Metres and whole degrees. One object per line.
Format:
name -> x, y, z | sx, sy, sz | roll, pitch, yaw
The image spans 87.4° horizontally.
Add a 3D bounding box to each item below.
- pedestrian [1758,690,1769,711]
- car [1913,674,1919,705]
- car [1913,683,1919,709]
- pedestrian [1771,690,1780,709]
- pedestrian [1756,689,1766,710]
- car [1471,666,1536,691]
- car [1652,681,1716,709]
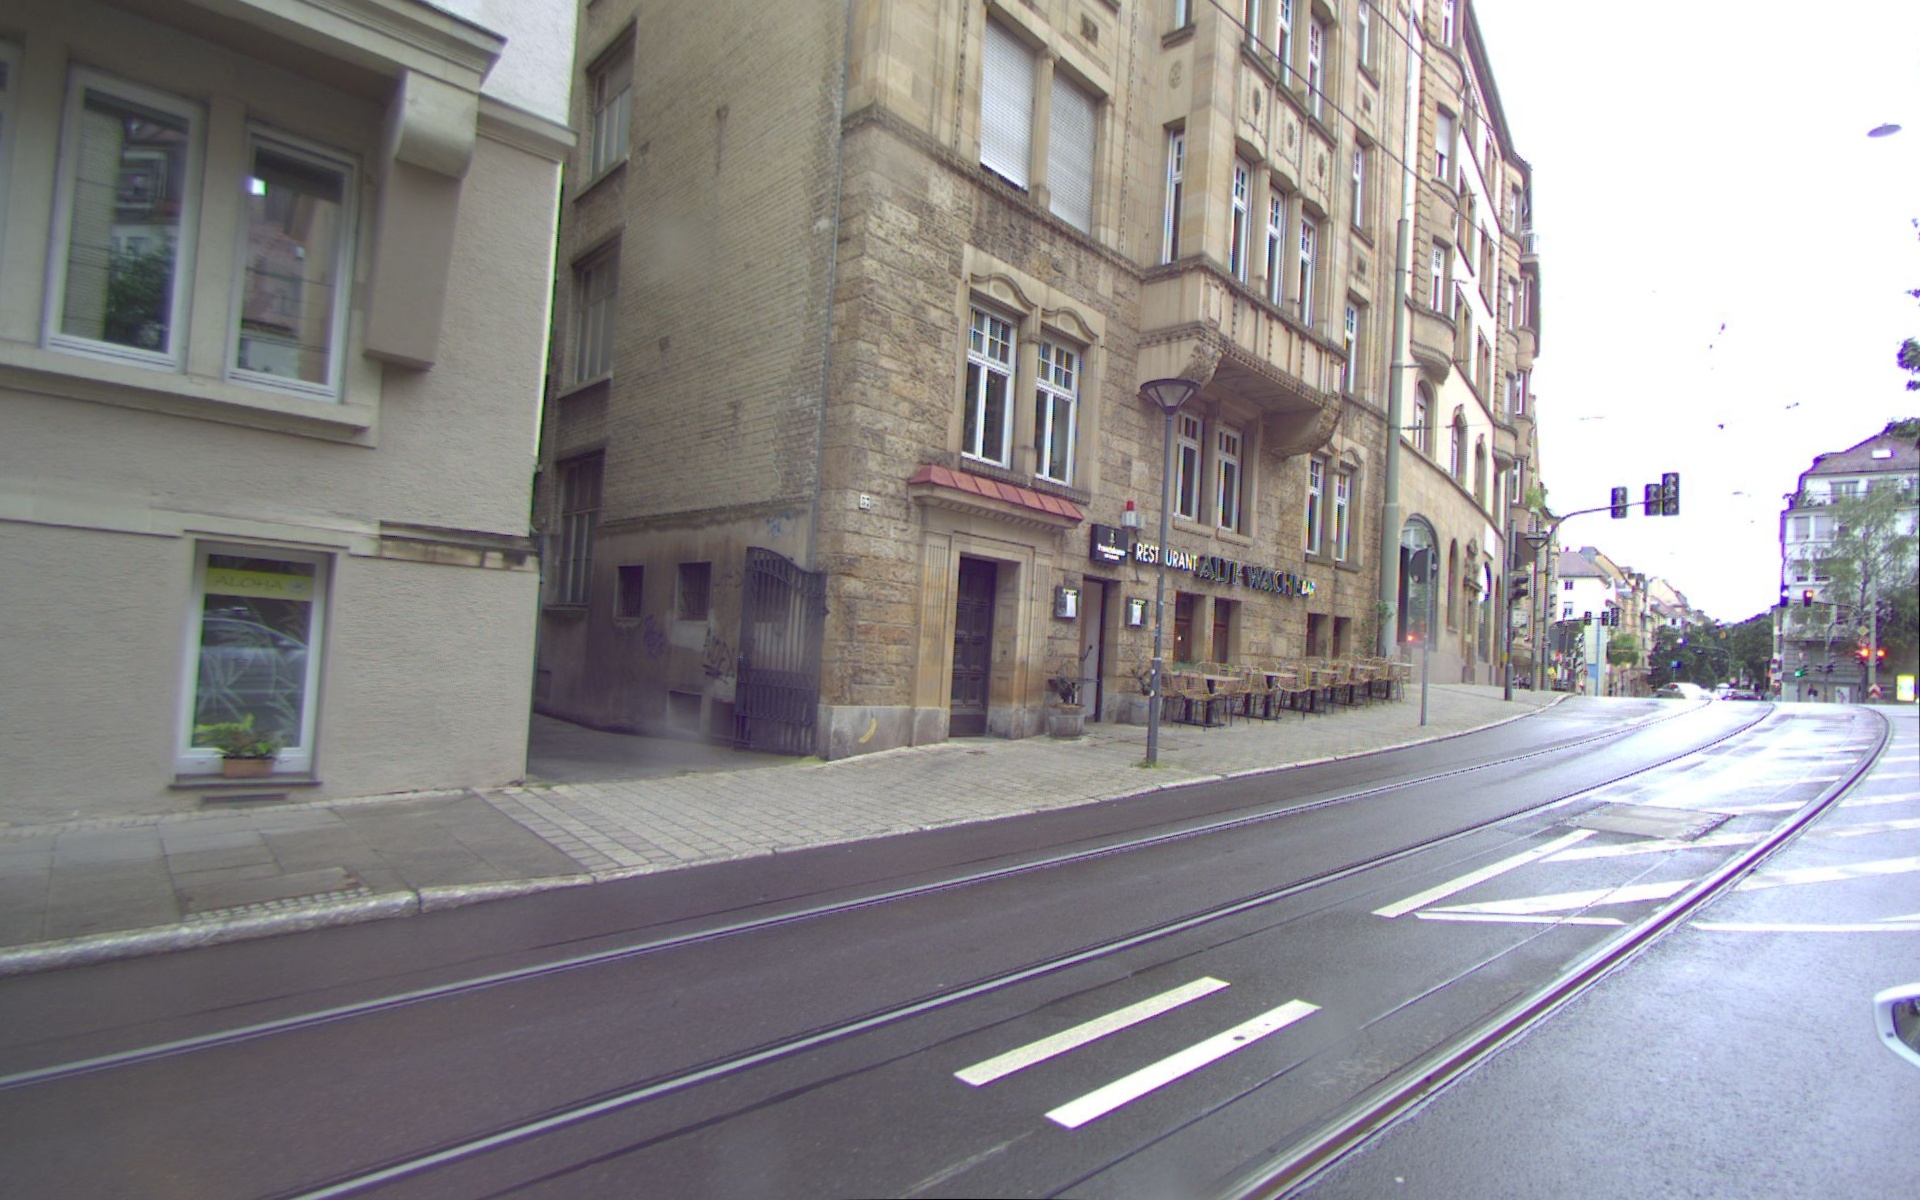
pedestrian -> 66.057, 8.255, 82.572 | 0.640, 1.683, 0.647 | 1, -1, 40
car -> 50.410, 4.511, 51.098 | 3.954, 1.530, 1.786 | 2, -4, -31
car -> 61.736, 5.981, 62.349 | 3.930, 1.635, 1.796 | 1, -2, -12
pedestrian -> 73.024, 8.896, 89.941 | 0.640, 1.683, 0.647 | 1, -1, 40
pedestrian -> 67.687, 8.434, 84.885 | 0.640, 1.683, 0.647 | 1, -1, 40
car -> 38.398, 5.521, 71.002 | 3.932, 1.530, 1.795 | 0, -2, 33
car -> 47.830, 6.249, 66.473 | 1.763, 1.530, 4.669 | 0, -2, 13
